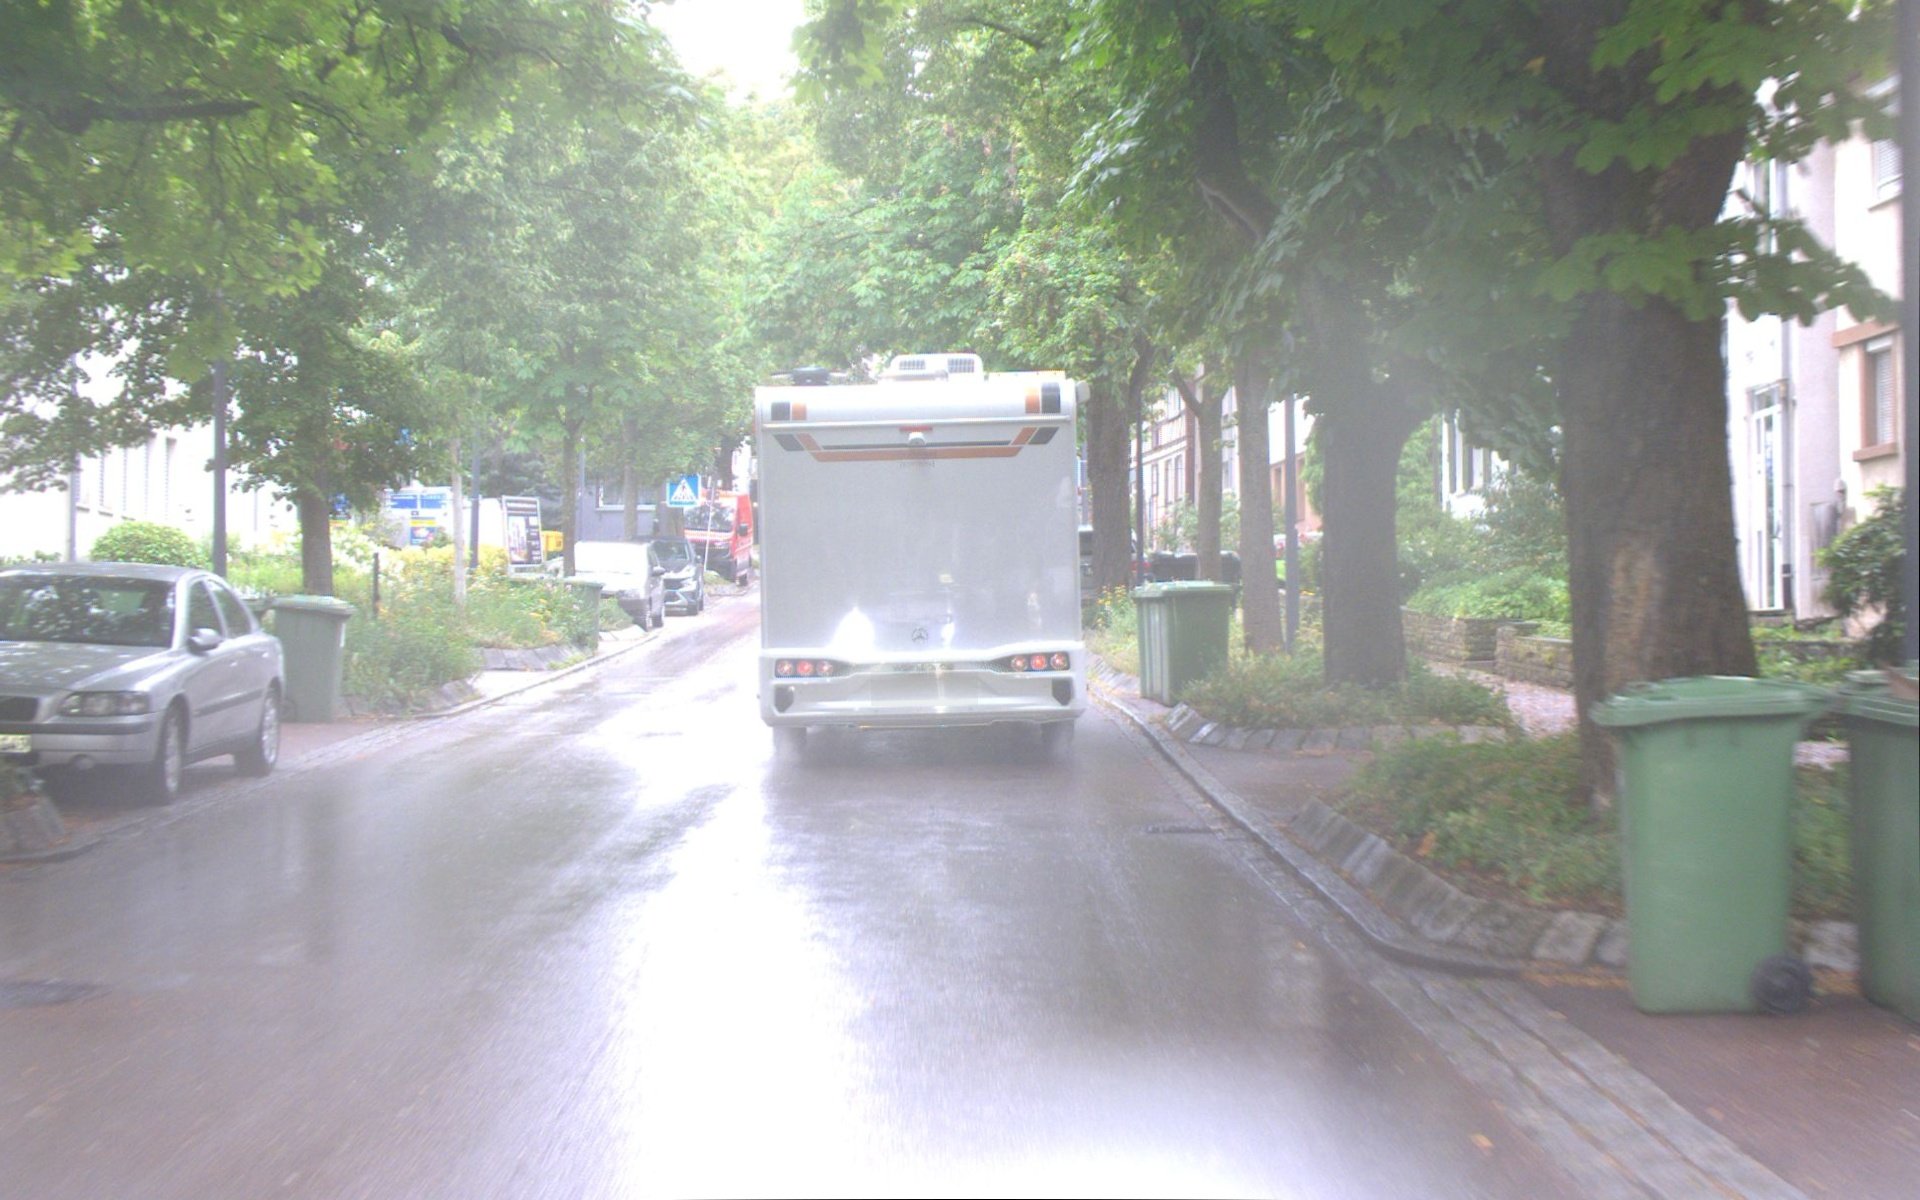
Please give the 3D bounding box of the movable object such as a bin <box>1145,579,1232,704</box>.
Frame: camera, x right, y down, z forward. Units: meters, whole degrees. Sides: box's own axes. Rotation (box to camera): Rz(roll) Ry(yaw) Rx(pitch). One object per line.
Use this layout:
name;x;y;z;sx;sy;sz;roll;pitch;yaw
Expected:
movable object such as a bin;1.992;0.357;30.036;0.688;1.079;0.541;0;1;-4

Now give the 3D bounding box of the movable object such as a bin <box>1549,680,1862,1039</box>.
movable object such as a bin;2.378;0.814;11.060;0.797;1.071;0.879;0;1;-1

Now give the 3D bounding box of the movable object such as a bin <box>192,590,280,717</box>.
movable object such as a bin;-6.198;0.455;29.434;0.595;1.059;0.545;1;1;3

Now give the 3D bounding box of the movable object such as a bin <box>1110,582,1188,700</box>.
movable object such as a bin;1.752;0.375;31.899;0.643;1.079;0.541;0;1;-4

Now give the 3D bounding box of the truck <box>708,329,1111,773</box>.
truck;-0.367;-0.373;26.306;2.694;2.975;6.237;0;1;0

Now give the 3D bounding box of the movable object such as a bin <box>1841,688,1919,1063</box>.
movable object such as a bin;3.202;0.827;10.564;0.748;1.071;0.879;0;1;-1

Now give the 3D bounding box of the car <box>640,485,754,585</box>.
car;-6.785;-1.738;89.205;2.303;2.474;5.785;0;2;2

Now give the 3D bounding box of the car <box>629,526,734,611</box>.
car;-5.539;-0.653;68.728;1.771;1.548;4.000;2;1;-1

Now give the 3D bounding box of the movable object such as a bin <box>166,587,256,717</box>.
movable object such as a bin;-6.276;0.430;28.819;0.595;1.059;0.545;1;1;3

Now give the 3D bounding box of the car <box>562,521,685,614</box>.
car;-5.786;-0.588;59.487;1.647;1.528;3.866;1;1;1

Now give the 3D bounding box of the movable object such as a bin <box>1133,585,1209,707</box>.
movable object such as a bin;1.883;0.407;30.725;0.609;1.079;0.513;0;1;-4

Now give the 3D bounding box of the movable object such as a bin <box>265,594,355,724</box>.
movable object such as a bin;-5.538;0.498;29.293;0.595;1.059;0.545;3;1;3

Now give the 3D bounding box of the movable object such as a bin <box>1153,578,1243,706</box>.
movable object such as a bin;2.035;0.354;29.477;0.688;1.079;0.541;0;1;-4

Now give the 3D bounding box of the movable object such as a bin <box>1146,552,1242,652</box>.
movable object such as a bin;3.125;0.017;46.042;1.225;1.311;1.134;-1;1;2

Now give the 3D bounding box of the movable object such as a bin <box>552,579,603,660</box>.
movable object such as a bin;-5.340;0.264;48.023;0.643;1.107;0.536;0;1;1

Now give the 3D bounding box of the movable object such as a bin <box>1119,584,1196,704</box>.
movable object such as a bin;1.798;0.395;31.325;0.630;1.079;0.472;0;1;-4

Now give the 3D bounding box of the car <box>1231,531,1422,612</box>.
car;6.939;-0.553;65.277;3.364;1.425;1.631;-1;1;-3

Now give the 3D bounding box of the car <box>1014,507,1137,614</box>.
car;1.969;-0.722;59.740;1.914;1.786;4.489;0;1;-1

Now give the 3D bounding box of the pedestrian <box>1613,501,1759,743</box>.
pedestrian;5.049;0.150;23.880;0.955;1.646;0.793;-1;0;13

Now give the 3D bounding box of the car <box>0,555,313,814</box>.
car;-5.458;0.451;21.788;1.772;1.384;4.545;2;1;1
